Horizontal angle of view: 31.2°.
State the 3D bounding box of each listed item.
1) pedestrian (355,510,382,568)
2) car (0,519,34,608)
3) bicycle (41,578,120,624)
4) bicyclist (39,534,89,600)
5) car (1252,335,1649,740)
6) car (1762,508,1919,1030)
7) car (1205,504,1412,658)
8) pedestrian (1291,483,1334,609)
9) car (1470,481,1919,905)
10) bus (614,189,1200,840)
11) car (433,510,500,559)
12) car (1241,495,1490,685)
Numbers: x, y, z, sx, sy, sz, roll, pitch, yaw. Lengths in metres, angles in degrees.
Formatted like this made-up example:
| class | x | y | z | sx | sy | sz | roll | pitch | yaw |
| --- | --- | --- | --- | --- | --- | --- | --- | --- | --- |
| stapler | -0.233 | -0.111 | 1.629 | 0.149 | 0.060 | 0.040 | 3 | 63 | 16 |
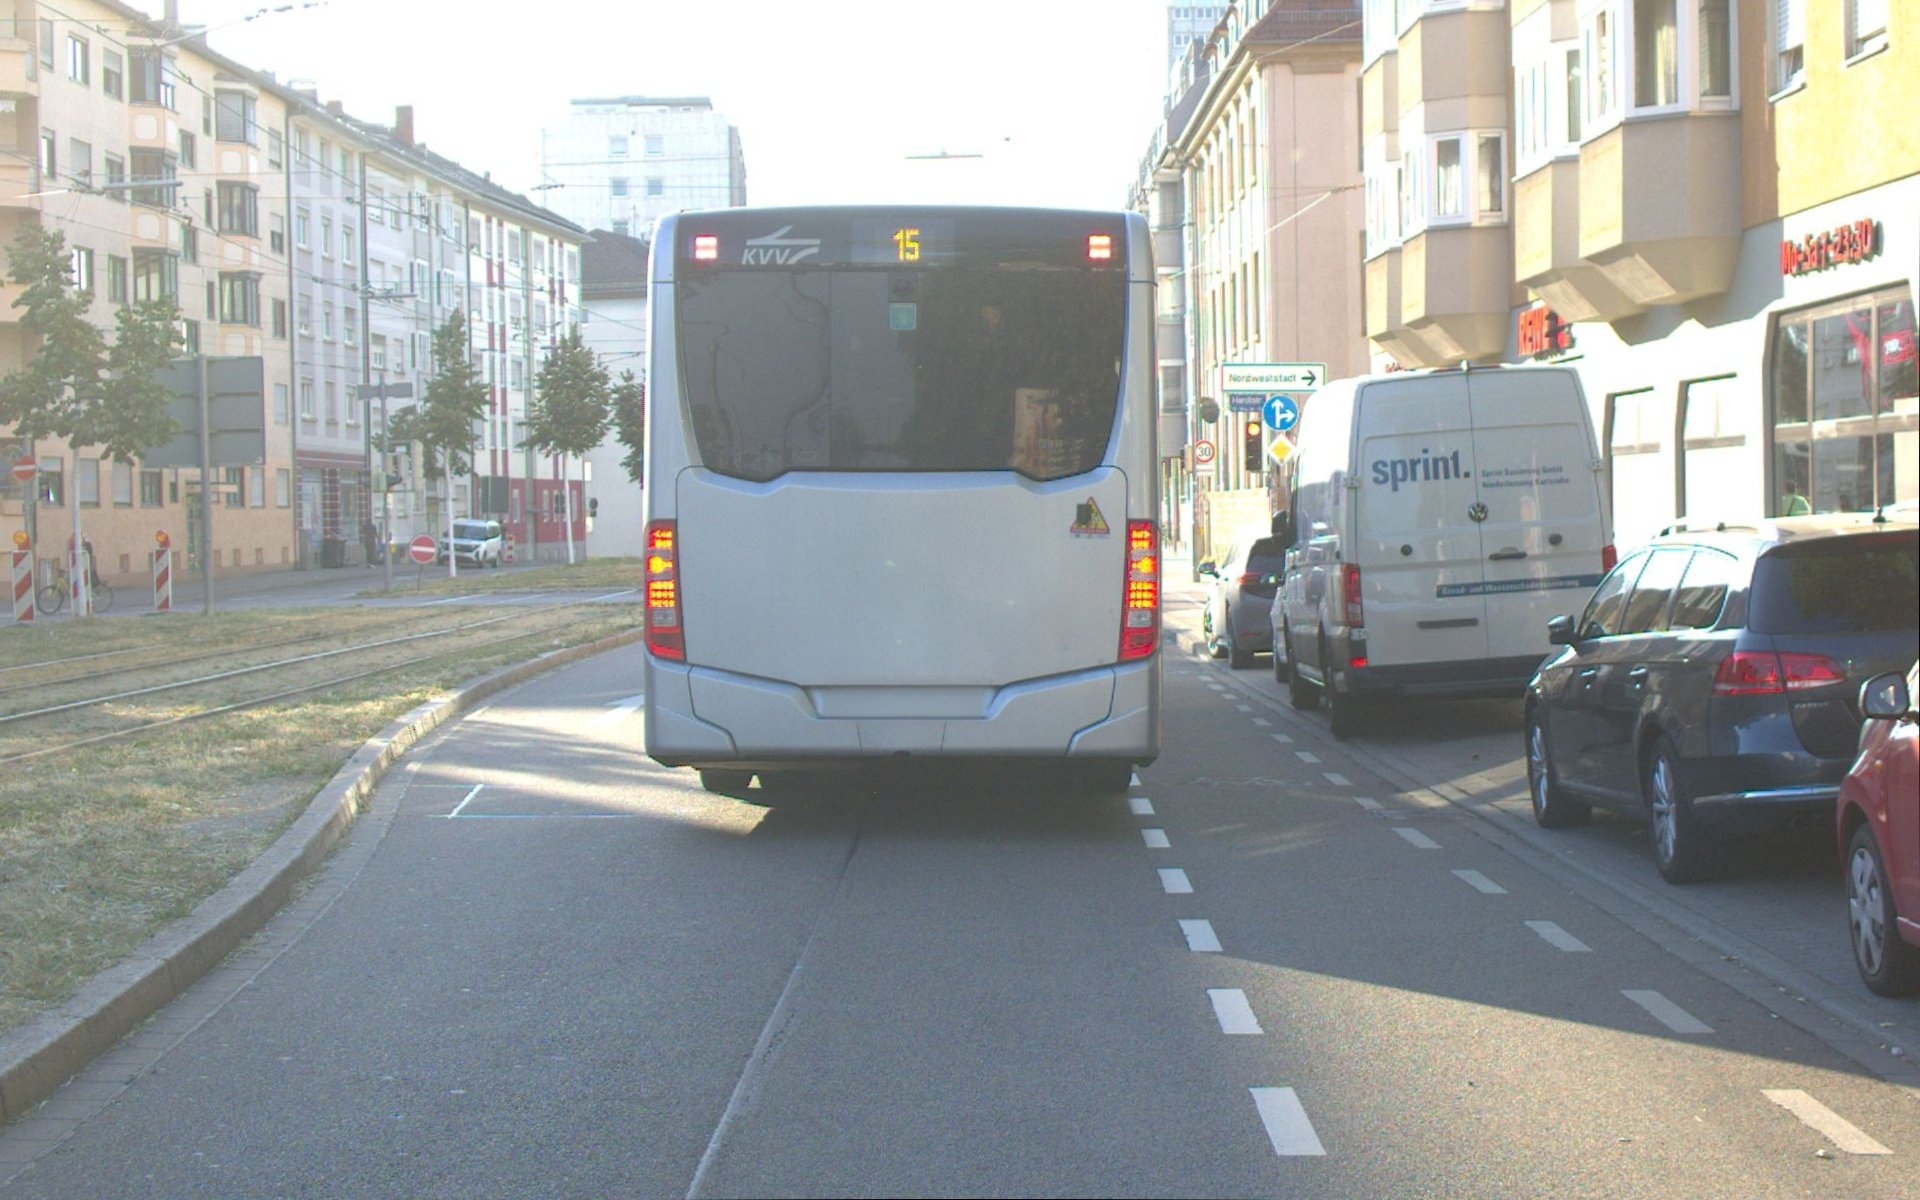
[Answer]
| class | x | y | z | sx | sy | sz | roll | pitch | yaw |
| --- | --- | --- | --- | --- | --- | --- | --- | --- | --- |
| pedestrian | -20.801 | -2.159 | 120.984 | 0.786 | 2.007 | 0.891 | -1 | 1 | -3 |
| car | -17.749 | -0.593 | 59.726 | 1.812 | 1.554 | 4.935 | -2 | 2 | 1 |
| bicycle | -19.799 | 0.013 | 77.414 | 0.528 | 0.980 | 1.880 | -1 | 2 | 31 |
| bicyclist | -20.066 | -0.735 | 76.999 | 0.528 | 1.442 | 0.964 | -1 | 1 | 31 |
| car | 3.512 | -0.485 | 25.767 | 2.017 | 2.542 | 5.785 | -4 | 1 | 1 |
| car | 3.527 | 0.466 | 9.708 | 1.569 | 1.489 | 3.626 | -3 | 1 | -1 |
| car | 3.717 | -0.251 | 37.306 | 1.838 | 1.531 | 4.230 | -1 | 1 | 1 |
| pedestrian | 5.005 | -0.772 | 48.831 | 0.547 | 1.778 | 0.449 | -1 | 1 | 1 |
| car | 3.546 | 0.284 | 15.322 | 1.696 | 1.525 | 4.653 | -4 | 1 | -1 |
| bus | -0.206 | -0.516 | 20.638 | 2.738 | 3.045 | 8.854 | 0 | 1 | 1 |
| car | -18.867 | -2.531 | 131.541 | 1.812 | 1.791 | 4.245 | -1 | 1 | 2 |
| car | 3.624 | -0.133 | 31.288 | 1.838 | 1.582 | 3.786 | -1 | 1 | 1 |
